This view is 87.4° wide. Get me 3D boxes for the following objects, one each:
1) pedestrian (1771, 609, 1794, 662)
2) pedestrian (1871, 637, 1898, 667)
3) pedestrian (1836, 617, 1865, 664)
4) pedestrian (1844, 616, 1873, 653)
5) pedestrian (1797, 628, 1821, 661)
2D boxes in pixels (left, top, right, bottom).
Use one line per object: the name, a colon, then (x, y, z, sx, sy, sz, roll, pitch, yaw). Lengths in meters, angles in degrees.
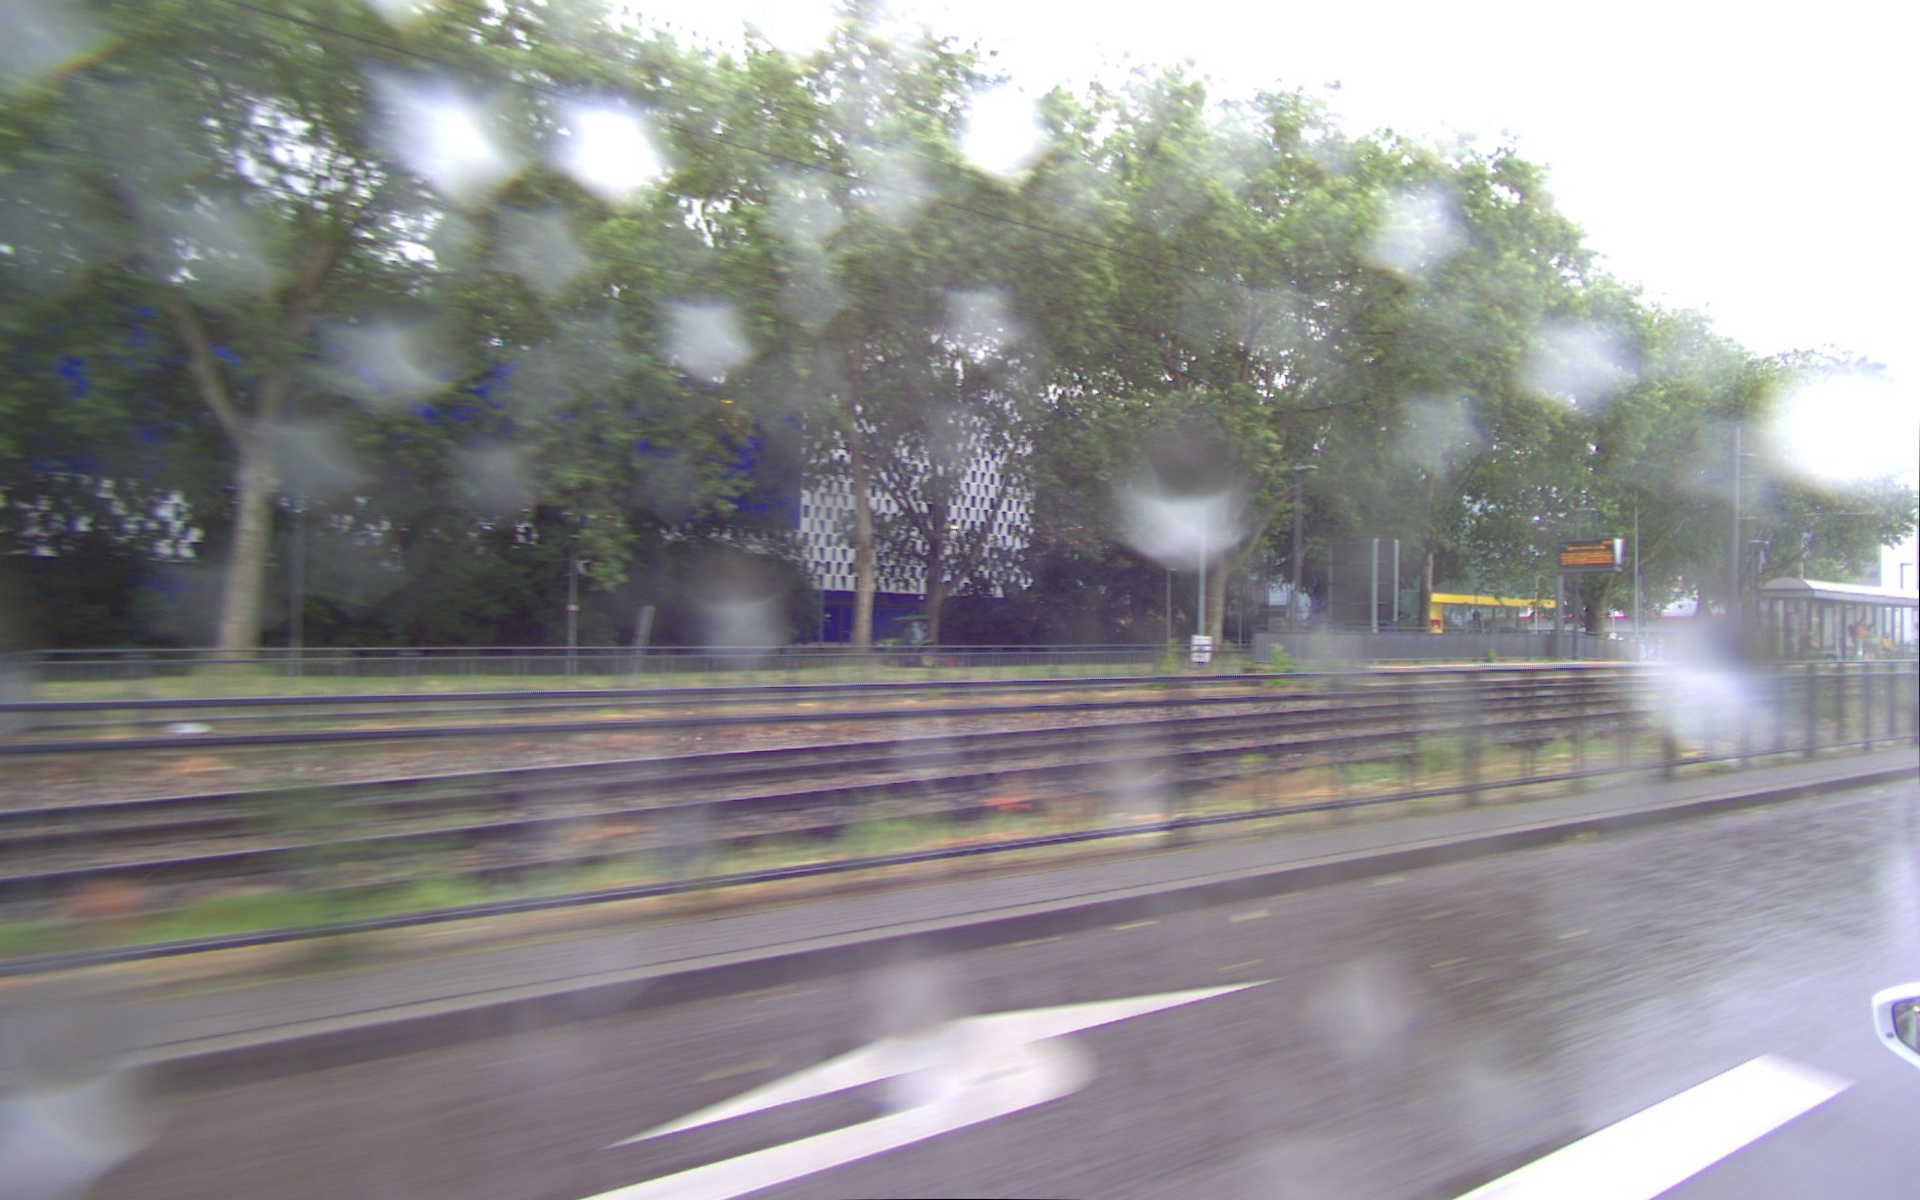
pedestrian: (32.238, 1.400, 39.363, 0.576, 2.040, 0.491, 2, 0, -30)
pedestrian: (42.374, 2.380, 46.016, 0.804, 1.320, 0.640, 2, 0, -27)
pedestrian: (37.848, 1.703, 42.713, 0.804, 1.959, 0.619, 2, 0, -27)
pedestrian: (40.017, 1.541, 44.736, 0.814, 1.582, 0.671, 2, 0, 34)
pedestrian: (34.291, 1.783, 40.561, 0.655, 1.284, 0.491, 2, 0, -27)
